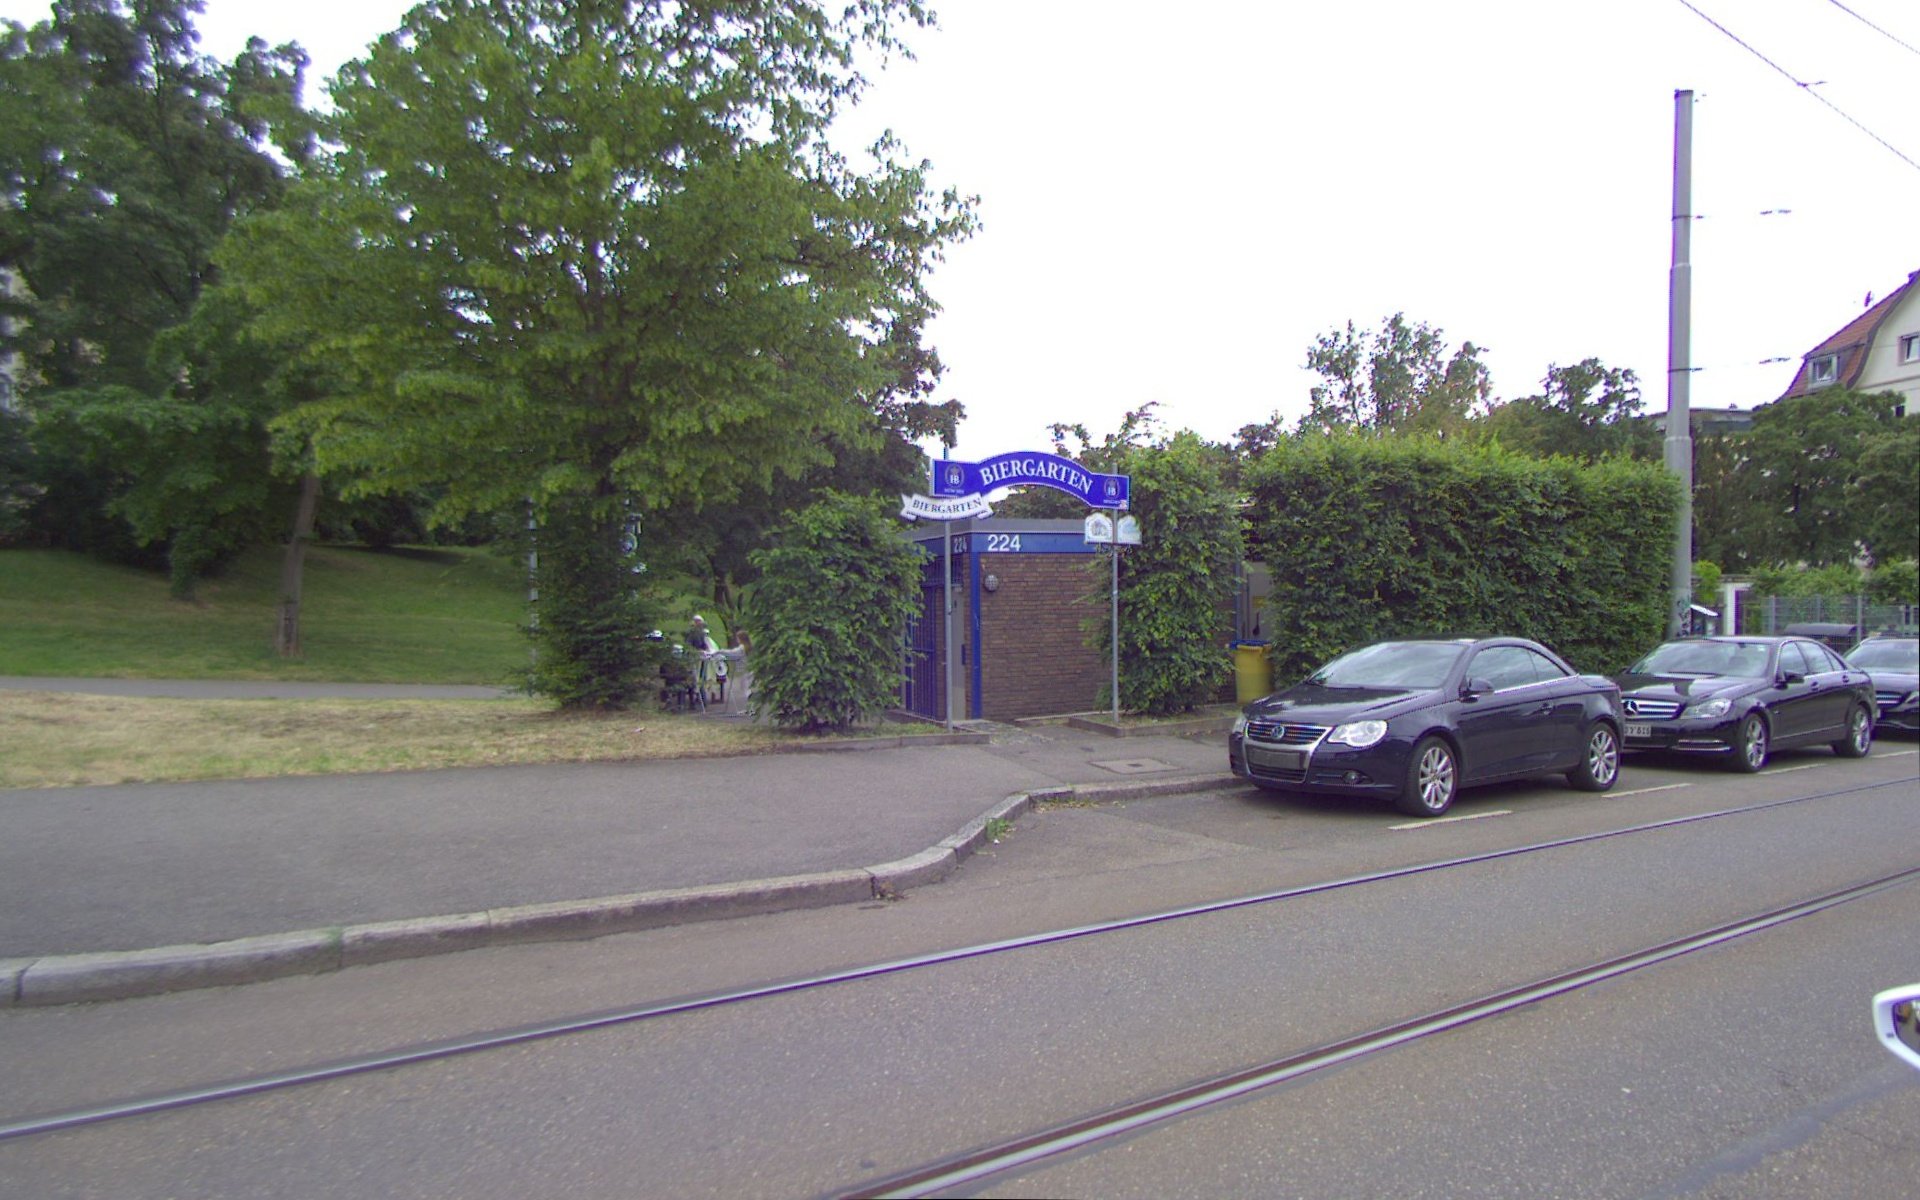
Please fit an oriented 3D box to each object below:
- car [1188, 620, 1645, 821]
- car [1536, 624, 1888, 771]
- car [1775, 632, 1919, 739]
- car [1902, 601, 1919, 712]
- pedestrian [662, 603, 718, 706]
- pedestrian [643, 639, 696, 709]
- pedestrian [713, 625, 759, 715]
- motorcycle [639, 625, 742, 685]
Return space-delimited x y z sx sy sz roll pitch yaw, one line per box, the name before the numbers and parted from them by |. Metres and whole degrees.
car | 4.217 0.960 9.114 4.115 1.423 1.780 2 -1 -31
car | 8.915 1.057 11.822 4.390 1.405 1.830 2 -1 -31
car | 14.476 1.251 15.298 4.467 1.405 1.830 2 -1 -32
car | 19.277 1.076 18.269 4.682 1.938 1.959 2 -1 -32
pedestrian | -4.532 0.898 16.902 0.652 1.686 0.622 2 0 14
pedestrian | -4.720 1.191 16.319 0.652 1.078 0.483 2 0 14
pedestrian | -3.499 1.084 15.719 0.509 1.360 0.483 2 0 14
motorcycle | -6.282 1.271 23.494 2.244 1.322 0.616 2 0 -40
